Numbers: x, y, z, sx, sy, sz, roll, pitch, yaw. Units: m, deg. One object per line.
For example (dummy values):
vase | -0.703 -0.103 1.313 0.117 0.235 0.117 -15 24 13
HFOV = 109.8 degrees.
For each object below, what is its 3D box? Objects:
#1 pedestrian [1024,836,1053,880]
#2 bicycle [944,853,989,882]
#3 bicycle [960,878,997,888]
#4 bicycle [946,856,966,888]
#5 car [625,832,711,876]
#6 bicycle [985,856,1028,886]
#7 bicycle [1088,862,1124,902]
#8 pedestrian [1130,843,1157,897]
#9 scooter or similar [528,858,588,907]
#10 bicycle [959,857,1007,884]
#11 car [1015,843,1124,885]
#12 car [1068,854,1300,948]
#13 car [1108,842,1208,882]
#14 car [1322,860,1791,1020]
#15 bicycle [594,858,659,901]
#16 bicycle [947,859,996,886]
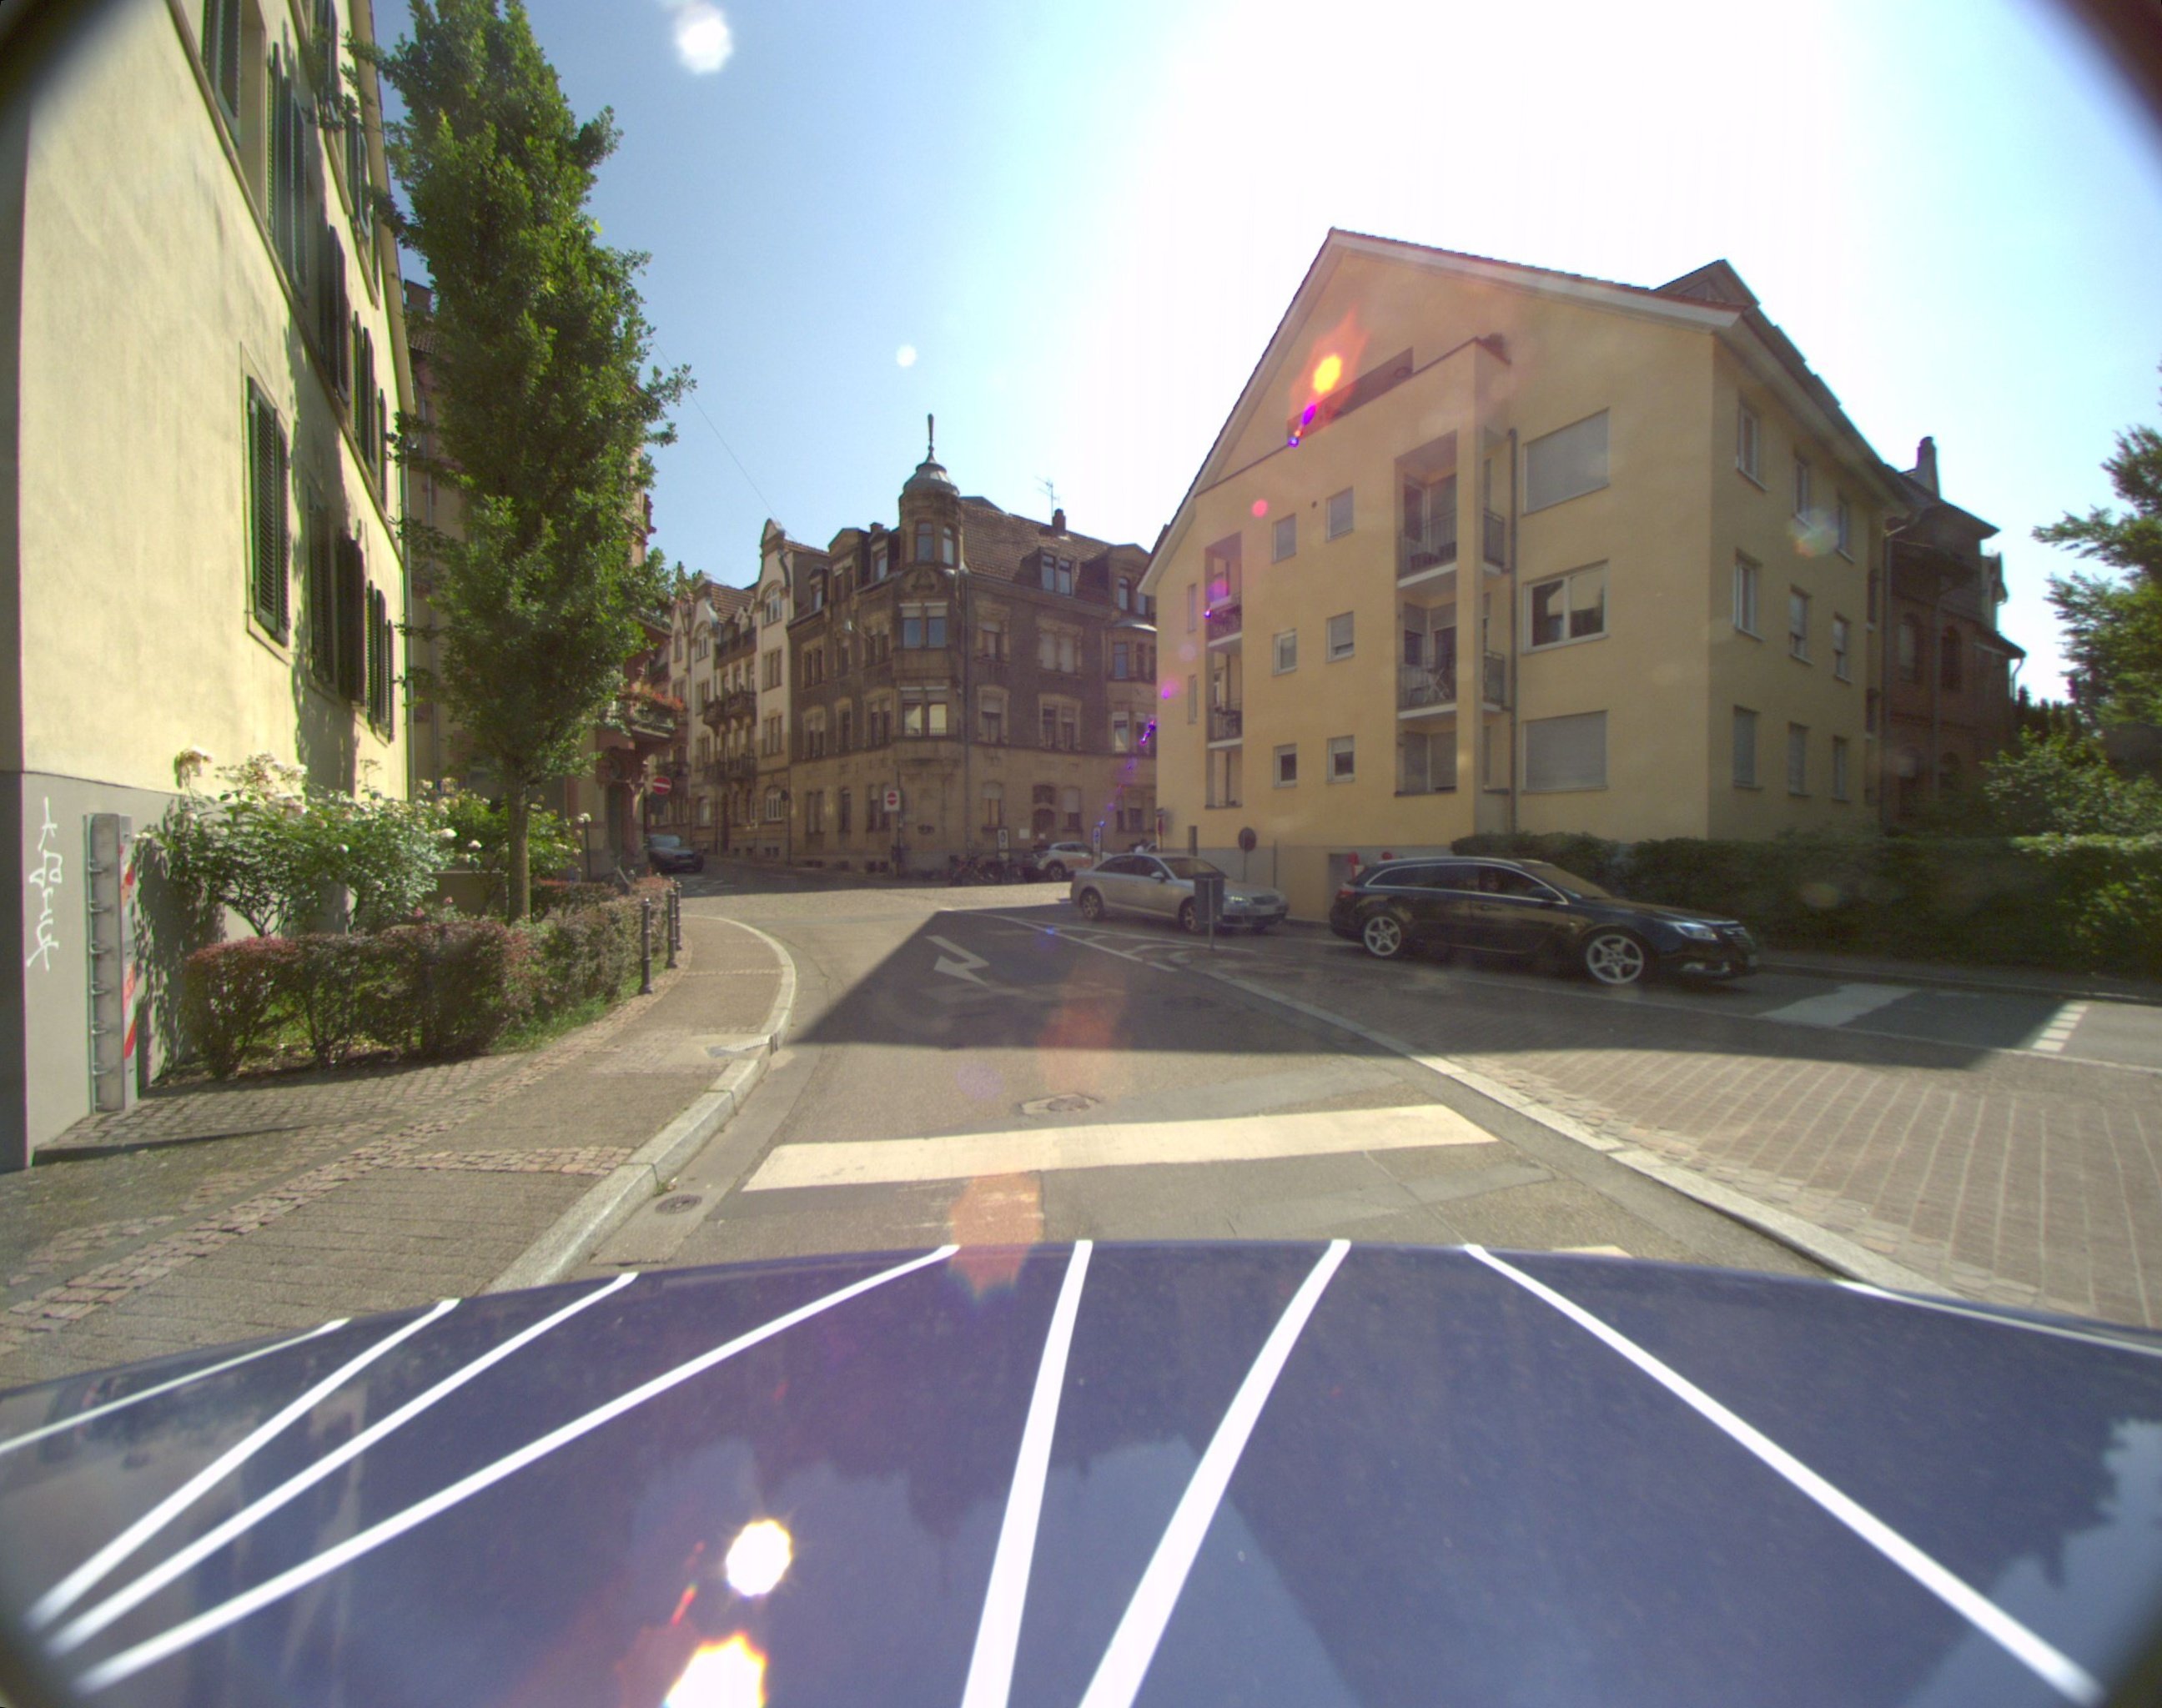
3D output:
pedestrian | -1.722 0.147 30.964 0.982 1.749 0.621 -2 6 -37
bicycle | -4.487 0.506 29.868 1.645 1.080 0.494 0 5 -36
bicycle | -3.723 1.039 27.578 1.080 0.286 1.121 0 1 -22
bicycle | -4.537 0.622 27.479 0.286 1.080 1.639 -4 2 -22
car | -17.132 -0.046 31.435 4.246 1.574 1.866 3 5 43
bicycle | -2.745 0.629 28.007 1.638 1.079 0.286 -2 -2 26
bicycle | 0.718 0.810 22.455 0.392 1.073 1.906 0 1 -19
pedestrian | 1.928 0.483 23.379 0.658 1.609 0.492 -1 2 -24
scooter or similar | -13.526 0.720 19.684 0.441 1.228 1.193 1 2 40
bicycle | -3.653 0.593 28.200 1.637 1.084 0.285 2 46 43
car | -0.413 0.339 29.900 3.936 1.535 1.847 -1 1 -37
car | 1.822 0.765 14.719 1.881 1.484 4.370 -1 1 -38
car | 3.327 0.290 32.486 4.007 1.535 1.848 -2 1 -35
car | 5.640 0.858 9.661 1.723 1.453 4.711 2 0 -38
bicycle | -12.730 0.687 21.263 1.789 1.140 0.506 1 1 18
bicycle | -4.005 0.667 27.849 1.637 1.084 0.285 2 46 43
